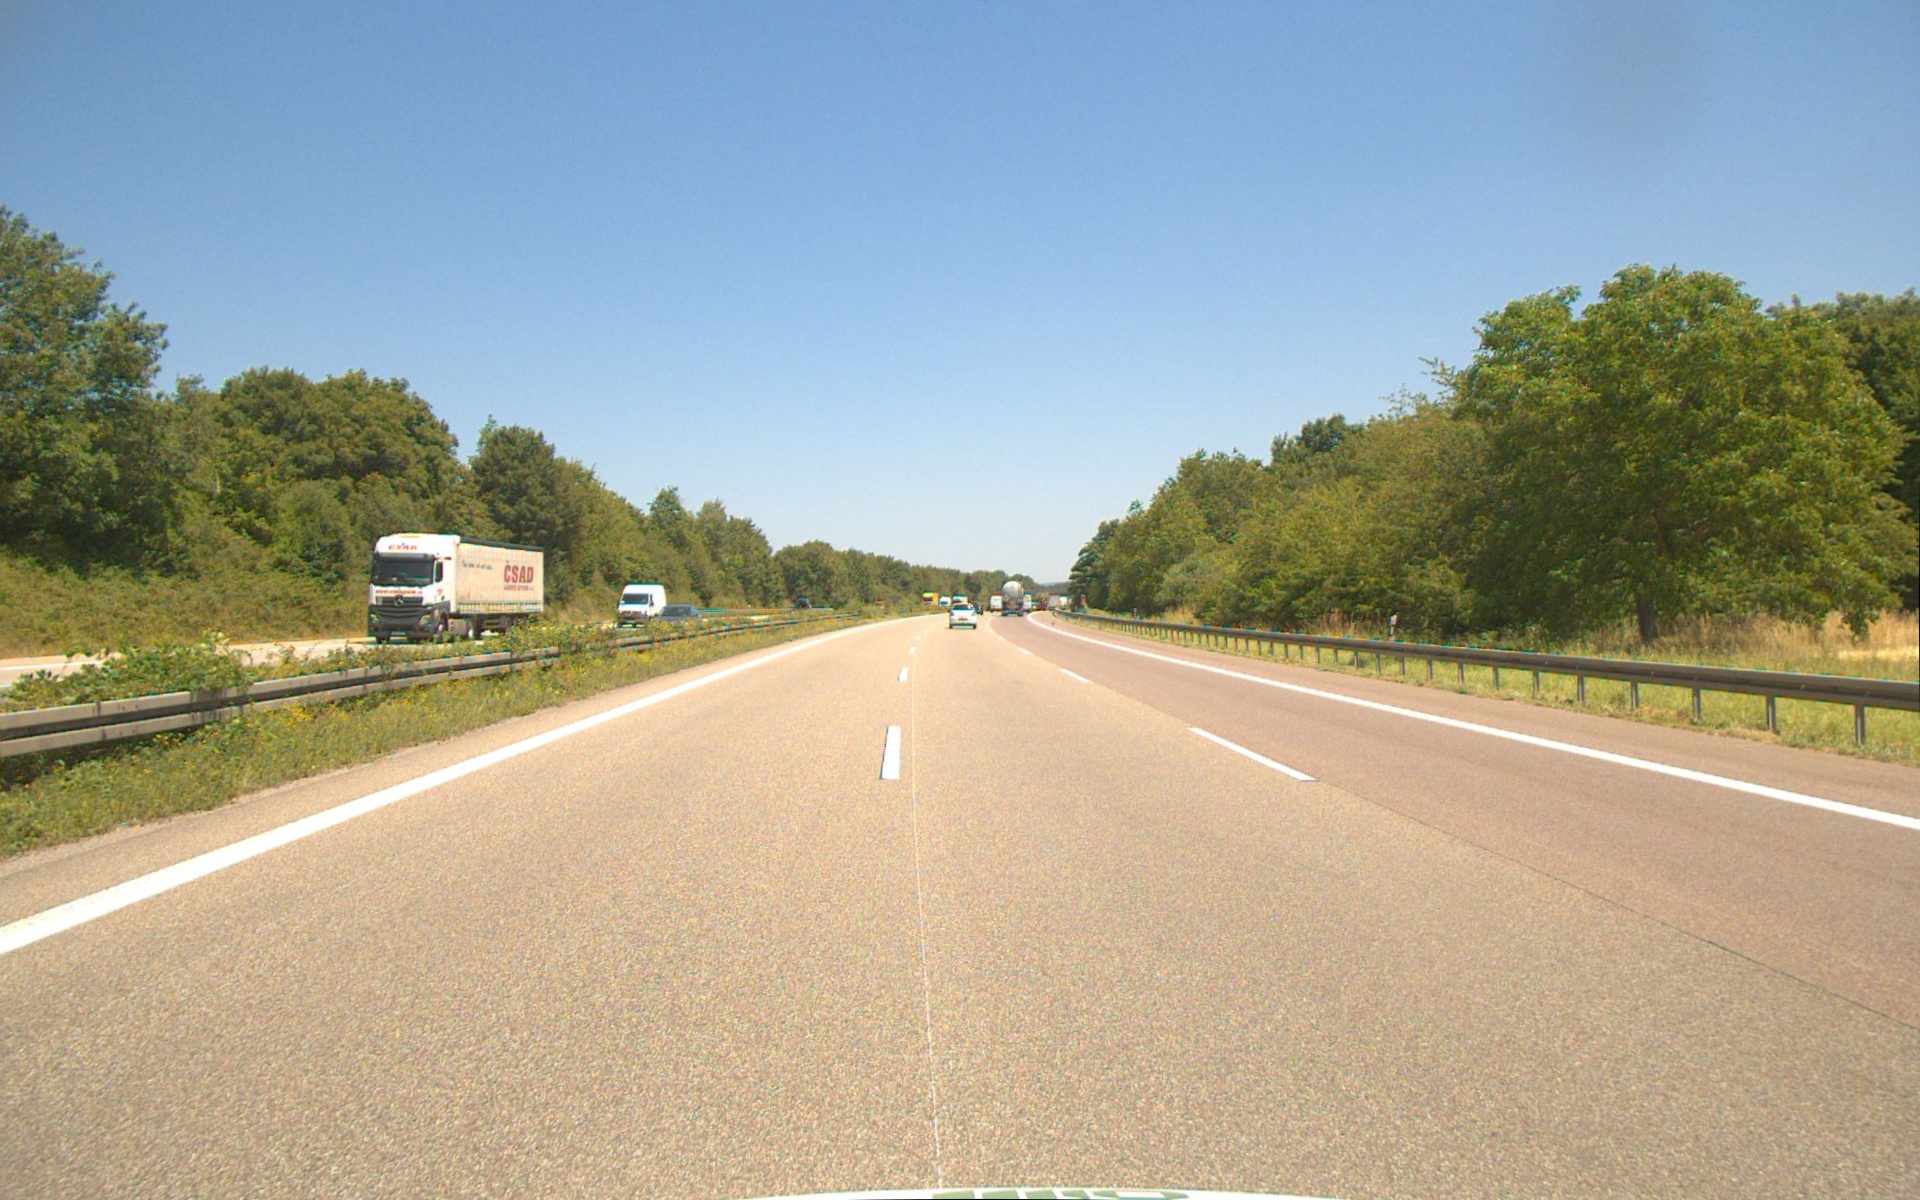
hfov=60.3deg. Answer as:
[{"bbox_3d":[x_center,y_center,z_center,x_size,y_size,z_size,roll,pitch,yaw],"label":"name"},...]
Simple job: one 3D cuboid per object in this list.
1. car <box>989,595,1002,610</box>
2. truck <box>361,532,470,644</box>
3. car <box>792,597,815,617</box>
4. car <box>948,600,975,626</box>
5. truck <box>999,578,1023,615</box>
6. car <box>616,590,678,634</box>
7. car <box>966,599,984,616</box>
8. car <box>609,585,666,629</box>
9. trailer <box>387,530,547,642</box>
[{"bbox_3d":[5.468,0.401,257.392,1.952,2.384,4.388,0,0,2],"label":"car"},{"bbox_3d":[-20.416,-0.443,62.278,2.647,4.035,4.442,-1,0,-1],"label":"truck"},{"bbox_3d":[-14.973,0.656,157.960,1.789,1.939,4.955,0,0,-1],"label":"car"},{"bbox_3d":[0.050,0.801,100.874,1.594,1.505,3.999,0,0,-1],"label":"car"},{"bbox_3d":[5.959,-0.331,191.825,2.682,4.123,10.457,0,0,2],"label":"truck"},{"bbox_3d":[-14.302,0.540,75.770,1.953,1.894,4.954,-1,0,-1],"label":"car"},{"bbox_3d":[1.854,0.930,203.265,1.952,2.049,4.002,-1,0,3],"label":"car"},{"bbox_3d":[-20.343,0.420,104.617,2.183,2.621,7.390,-1,0,0],"label":"car"},{"bbox_3d":[-20.445,-0.513,69.697,2.650,4.257,13.557,-1,0,0],"label":"trailer"}]
